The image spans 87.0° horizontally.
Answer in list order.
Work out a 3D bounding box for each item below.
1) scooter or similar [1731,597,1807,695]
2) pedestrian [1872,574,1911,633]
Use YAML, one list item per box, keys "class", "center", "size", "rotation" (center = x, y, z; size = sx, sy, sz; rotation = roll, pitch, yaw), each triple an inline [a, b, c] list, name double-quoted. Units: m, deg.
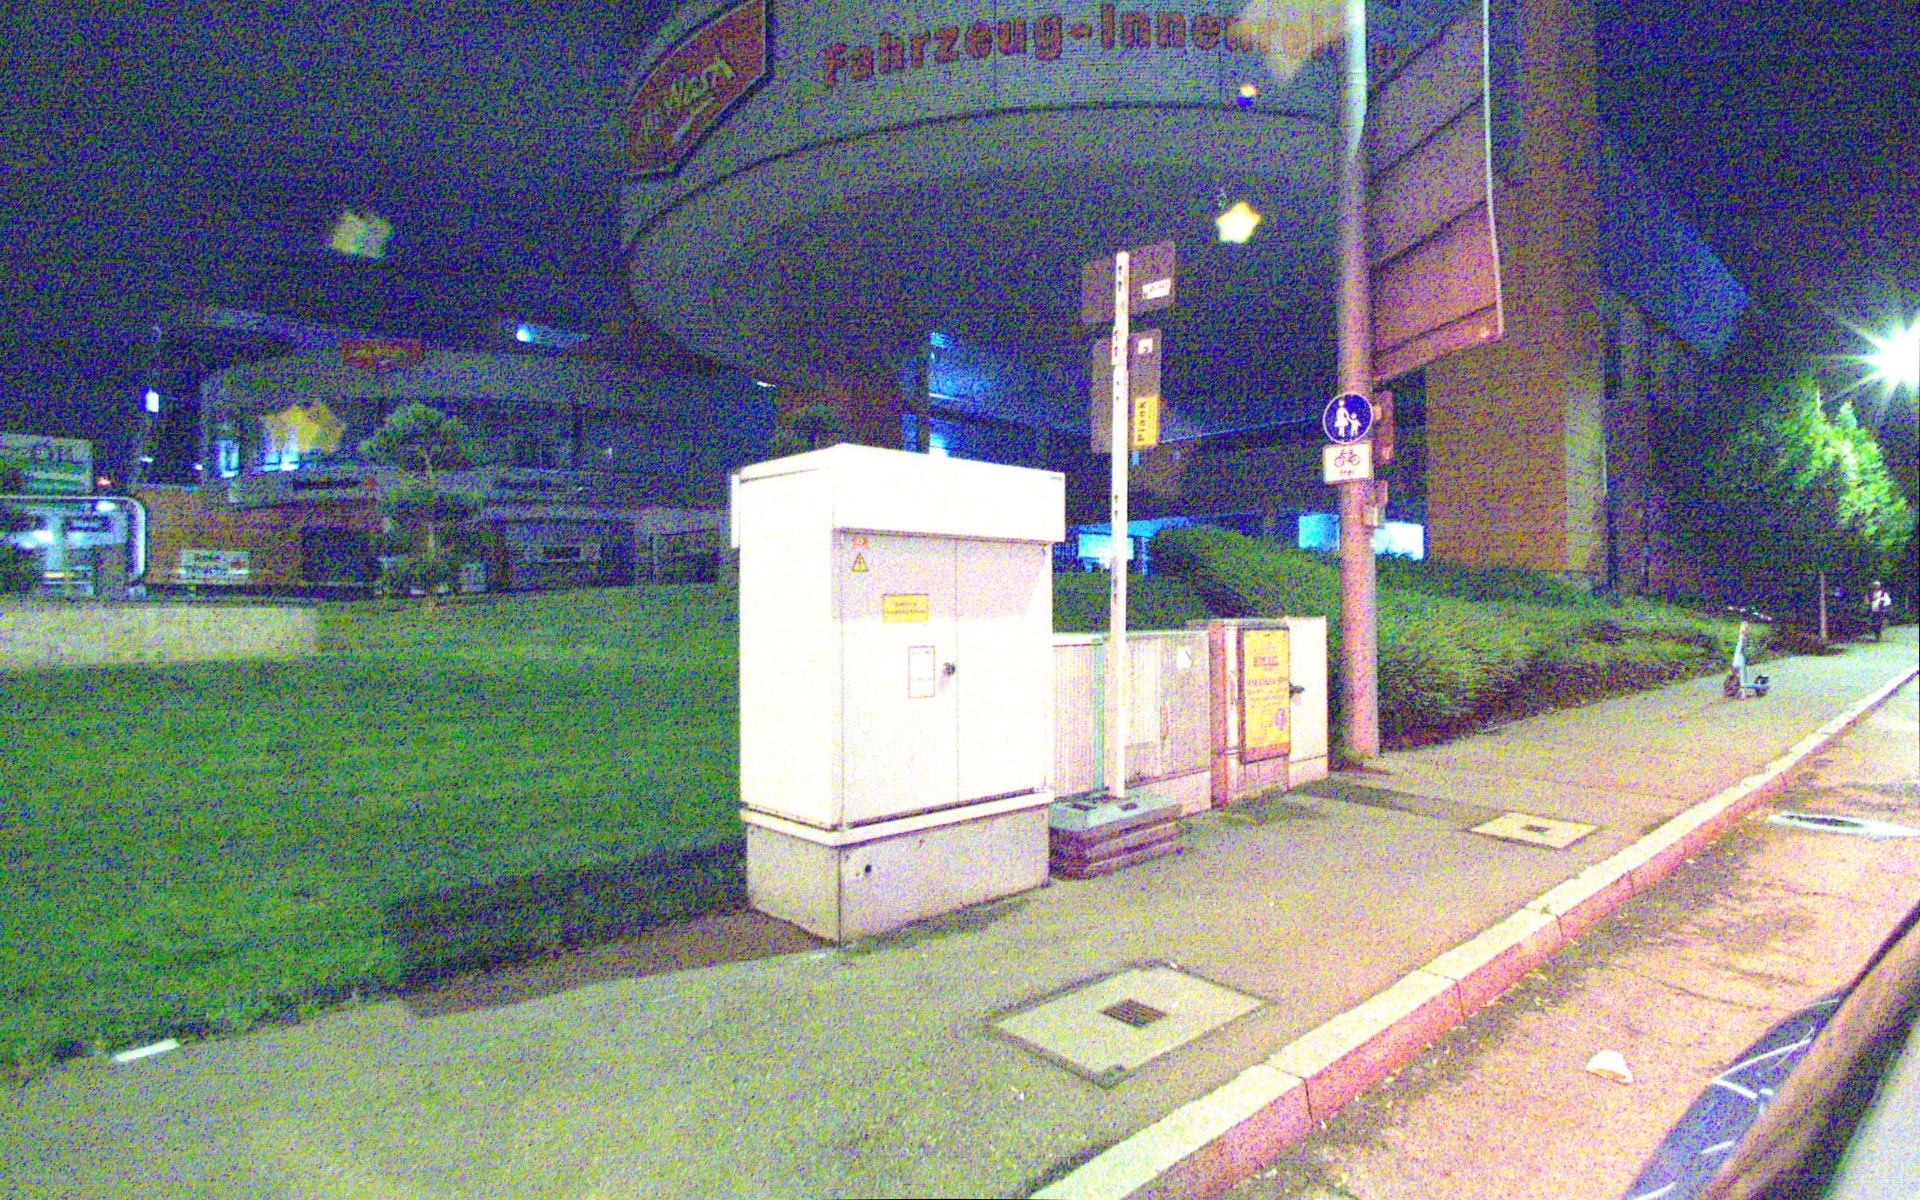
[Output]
- class: "scooter or similar"
  center: [11.296, 0.611, 14.115]
  size: [1.367, 1.295, 0.569]
  rotation: [0, 1, -41]
- class: "pedestrian"
  center: [29.514, 0.110, 32.054]
  size: [0.597, 1.842, 0.824]
  rotation: [-1, 0, -40]
